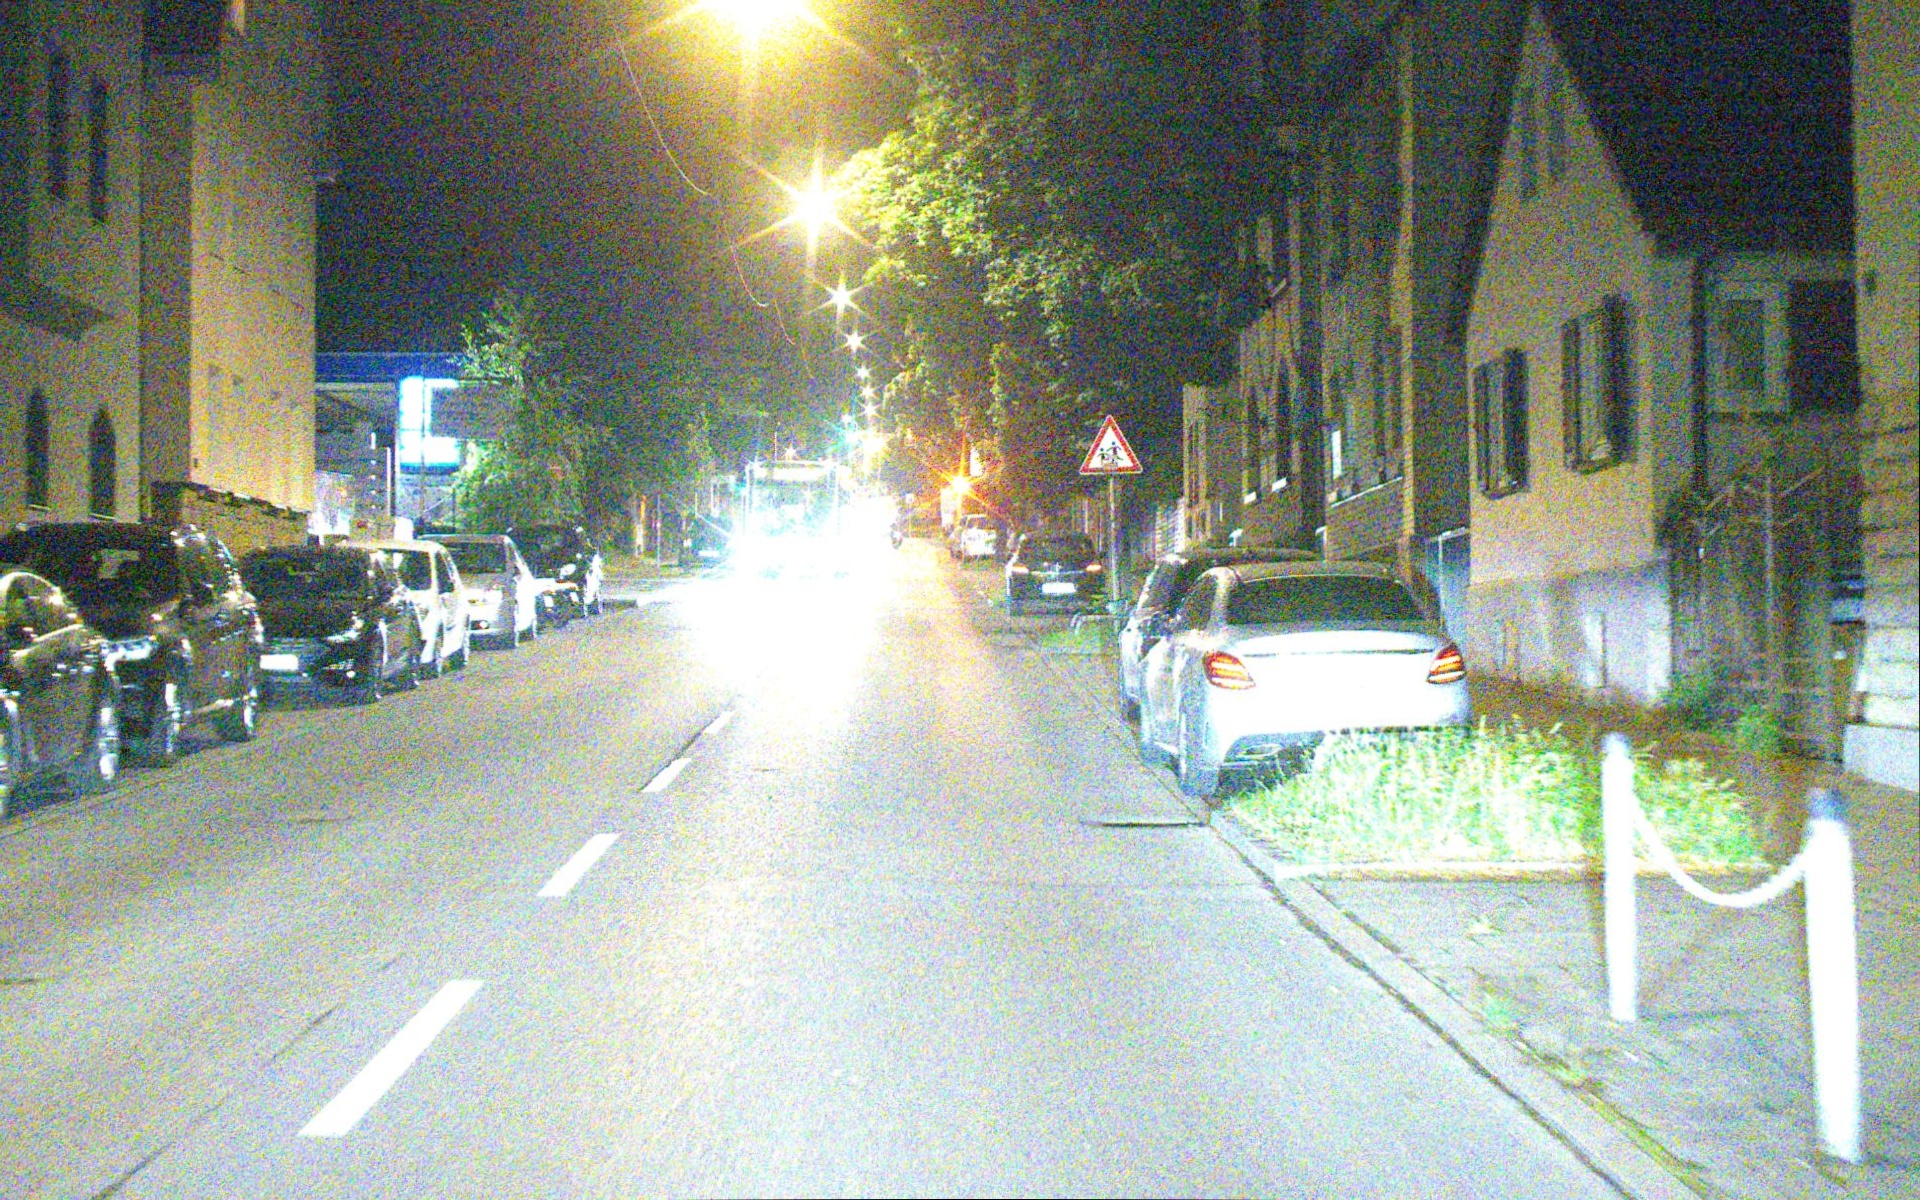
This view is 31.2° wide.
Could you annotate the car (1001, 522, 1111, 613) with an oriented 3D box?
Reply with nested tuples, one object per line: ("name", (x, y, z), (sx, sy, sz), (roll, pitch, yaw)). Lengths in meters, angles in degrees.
("car", (1.669, -0.600, 61.174), (1.763, 1.471, 4.081), (-2, 2, -1))

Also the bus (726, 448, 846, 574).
("bus", (-4.608, -2.432, 93.093), (2.837, 3.166, 10.500), (1, 2, -1))

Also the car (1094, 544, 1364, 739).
("car", (2.111, 0.281, 27.989), (1.771, 1.443, 4.020), (-1, 1, -2))

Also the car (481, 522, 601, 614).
("car", (-6.971, -0.542, 57.417), (1.638, 1.493, 2.765), (0, 1, 1))

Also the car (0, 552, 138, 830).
("car", (-6.146, 0.478, 19.903), (1.835, 1.442, 4.545), (0, 2, -2))

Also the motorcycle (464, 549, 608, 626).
("motorcycle", (-6.439, -0.205, 52.208), (2.206, 1.127, 0.714), (1, 2, 32))

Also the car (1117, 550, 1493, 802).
("car", (2.166, 0.425, 22.833), (1.845, 1.412, 4.646), (-3, 1, -2))

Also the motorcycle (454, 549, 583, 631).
("motorcycle", (-6.457, -0.156, 50.189), (0.714, 1.143, 2.208), (-2, 2, -43))

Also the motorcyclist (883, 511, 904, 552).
("motorcyclist", (-2.892, -2.962, 149.442), (0.848, 1.746, 0.805), (1, 0, -1))

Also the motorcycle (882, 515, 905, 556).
("motorcycle", (-2.892, -2.805, 149.399), (0.931, 1.746, 2.625), (1, 1, -1))

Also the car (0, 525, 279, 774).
("car", (-6.321, 0.277, 25.068), (1.835, 1.613, 4.545), (1, 1, -1))

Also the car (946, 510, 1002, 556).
("car", (0.483, -2.418, 123.414), (1.868, 1.521, 4.150), (-1, 2, -1))

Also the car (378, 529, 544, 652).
("car", (-6.613, -0.167, 45.943), (1.704, 1.486, 4.228), (-1, 2, -2))

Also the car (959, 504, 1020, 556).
("car", (0.938, -2.253, 110.086), (1.812, 1.588, 4.274), (-1, 2, -1))

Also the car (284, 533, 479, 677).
("car", (-6.379, 0.033, 38.208), (1.621, 1.486, 3.781), (1, 1, -2))

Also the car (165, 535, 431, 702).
("car", (-6.341, 0.148, 33.387), (1.863, 1.486, 4.281), (1, 1, -2))
